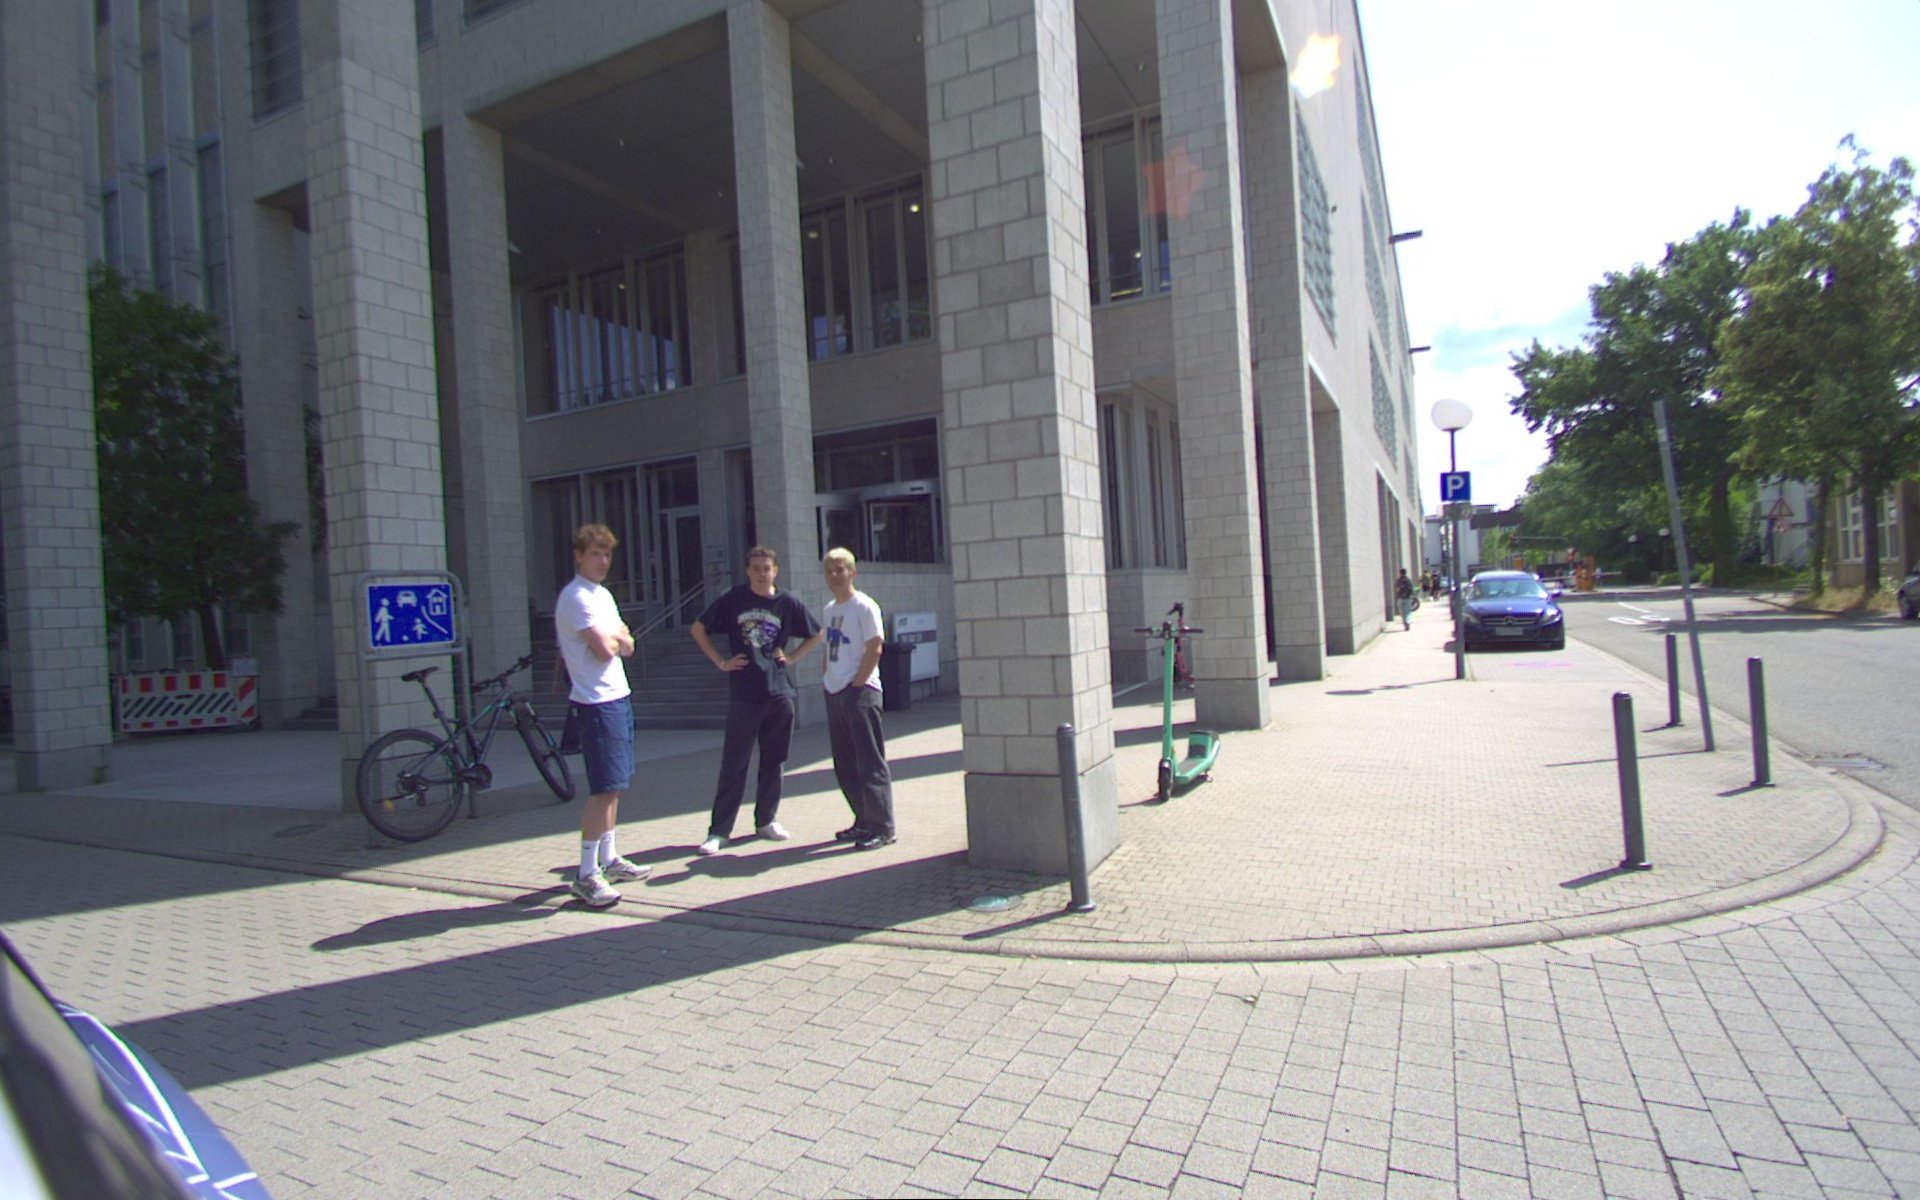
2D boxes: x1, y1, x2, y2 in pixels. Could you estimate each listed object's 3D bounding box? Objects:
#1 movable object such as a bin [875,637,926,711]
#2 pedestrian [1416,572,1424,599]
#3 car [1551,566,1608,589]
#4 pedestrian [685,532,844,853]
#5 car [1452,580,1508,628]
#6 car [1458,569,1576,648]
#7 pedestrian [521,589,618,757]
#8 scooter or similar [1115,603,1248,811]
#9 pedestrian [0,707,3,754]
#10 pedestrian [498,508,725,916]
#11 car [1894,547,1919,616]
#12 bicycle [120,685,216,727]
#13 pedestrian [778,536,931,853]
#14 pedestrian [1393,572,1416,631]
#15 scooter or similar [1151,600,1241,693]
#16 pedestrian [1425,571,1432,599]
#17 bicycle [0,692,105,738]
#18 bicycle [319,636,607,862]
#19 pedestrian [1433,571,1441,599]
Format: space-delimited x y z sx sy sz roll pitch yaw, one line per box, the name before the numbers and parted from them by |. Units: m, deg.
movable object such as a bin | -0.813 0.996 13.791 0.510 0.956 0.508 -1 0 25
pedestrian | 27.373 -0.858 60.214 0.439 1.642 0.564 -1 0 27
car | 50.613 -1.819 82.736 3.655 1.460 1.789 -7 -2 25
pedestrian | -1.214 0.526 6.213 0.796 1.810 0.622 -3 0 -17
car | 19.696 0.139 38.434 1.791 1.714 3.964 -1 0 26
car | 11.023 0.166 20.239 1.834 1.408 3.843 -2 -1 26
pedestrian | -4.271 0.781 11.109 0.681 1.747 0.684 -3 -1 7
scooter or similar | 1.552 0.656 6.921 0.561 1.221 1.498 -1 1 25
pedestrian | -15.328 1.523 15.492 0.935 1.753 0.740 -4 -1 35
pedestrian | -1.759 0.535 5.161 0.683 1.905 0.681 -5 0 24
car | 20.704 -0.458 20.256 1.795 1.460 3.645 -7 -2 25
bicycle | -15.573 2.079 19.895 1.978 0.765 0.638 -3 -2 24
pedestrian | -0.613 0.530 5.946 0.611 1.742 0.537 -4 0 28
pedestrian | 12.258 0.041 27.926 0.548 1.592 0.601 -2 -1 23
scooter or similar | 3.379 0.639 14.609 0.555 1.220 1.515 -4 1 -14
pedestrian | 27.786 -0.862 60.001 0.381 1.642 0.514 -1 0 27
bicycle | -16.758 2.118 18.602 1.973 0.765 0.640 -3 -1 17
bicycle | -3.366 0.947 7.061 0.529 1.251 1.814 -3 0 25
pedestrian | 28.186 -0.865 59.818 0.381 1.642 0.514 -1 0 27
